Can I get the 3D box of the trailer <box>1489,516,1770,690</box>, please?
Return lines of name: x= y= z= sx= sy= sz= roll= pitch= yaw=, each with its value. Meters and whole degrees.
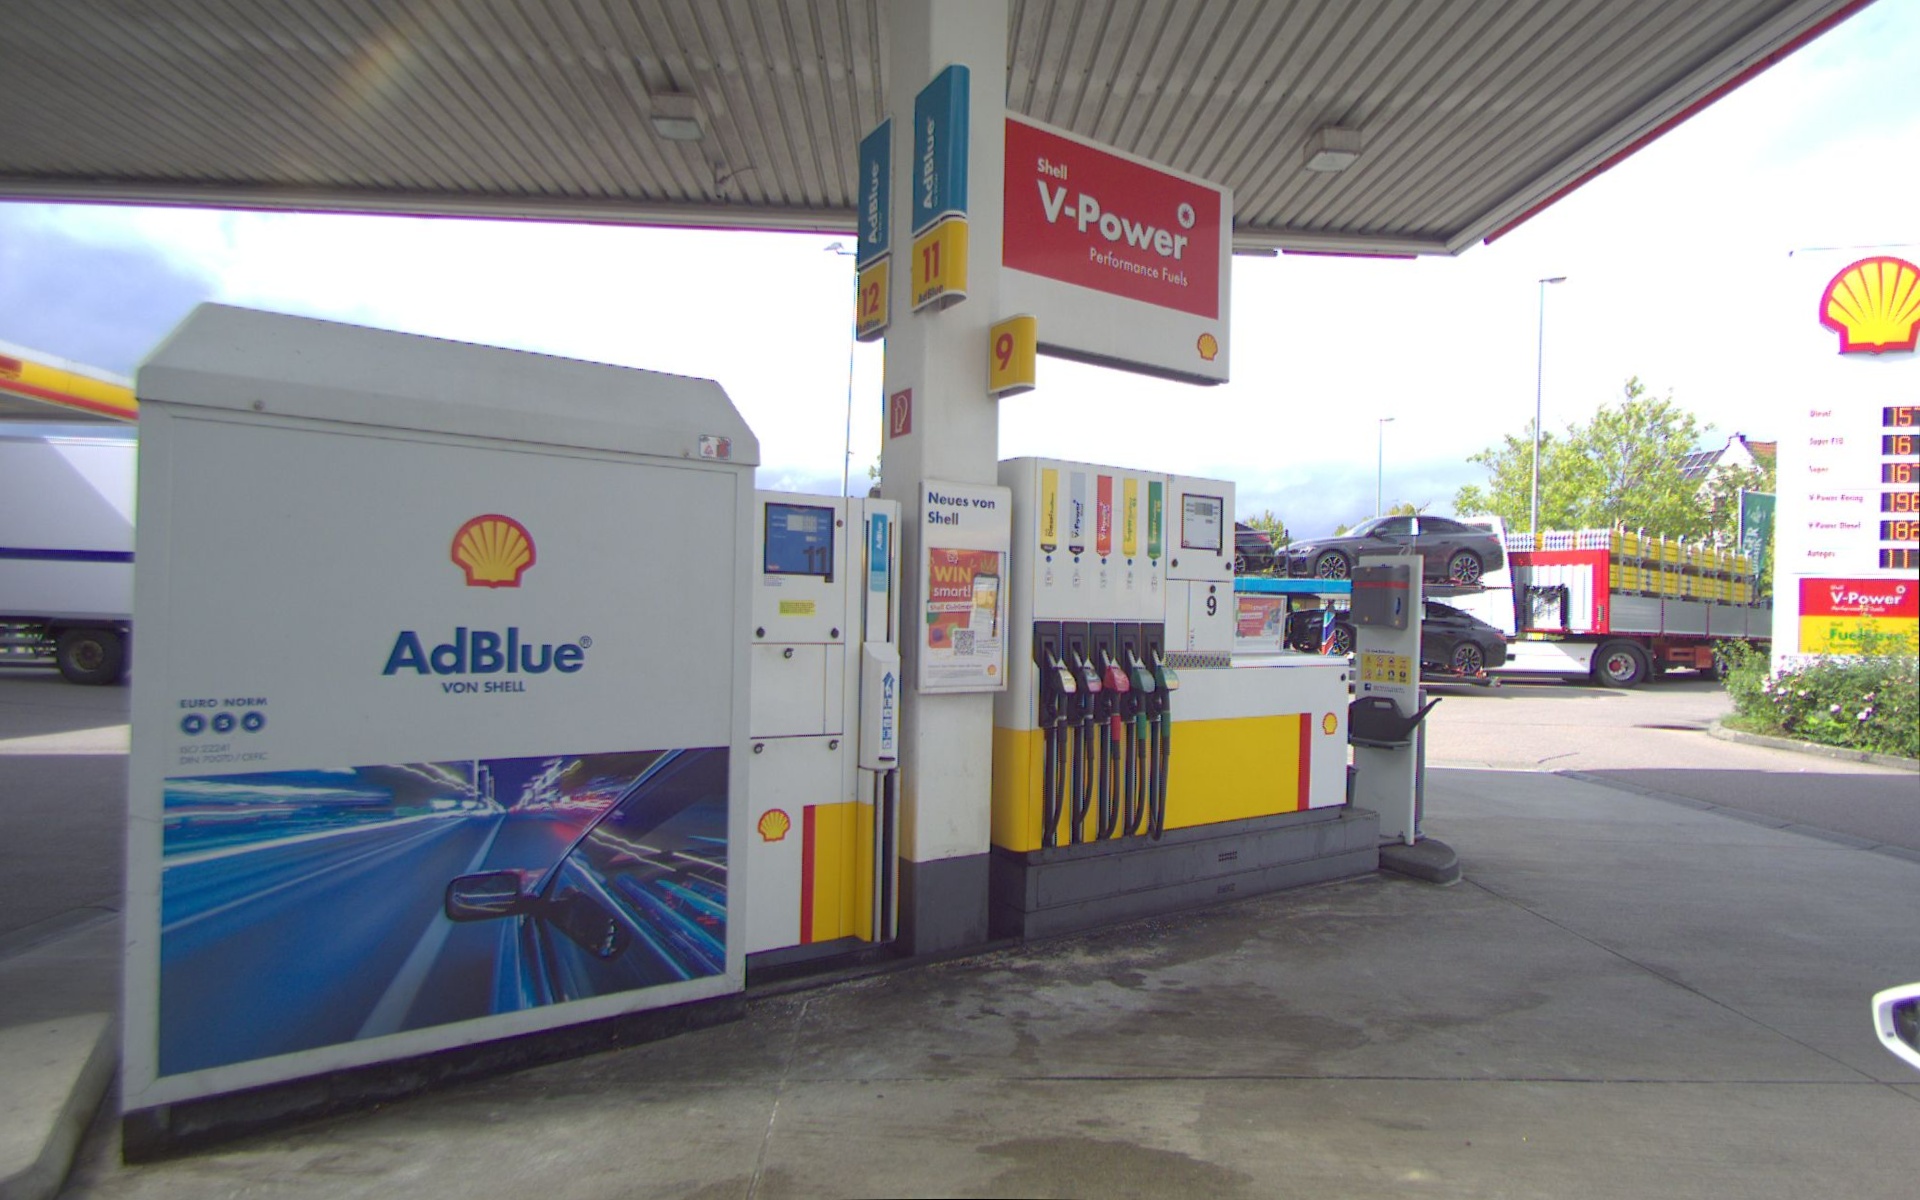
trailer: x=18.522 y=0.209 z=27.176 sx=12.605 sy=3.826 sz=2.708 roll=2 pitch=0 yaw=-39

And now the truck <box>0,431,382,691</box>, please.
truck: x=-17.294 y=-0.737 z=17.503 sx=12.654 sy=4.092 sz=2.534 roll=2 pitch=0 yaw=-3

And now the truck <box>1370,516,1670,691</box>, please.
truck: x=13.496 y=0.043 z=24.722 sx=5.798 sy=3.897 sz=2.743 roll=2 pitch=0 yaw=12

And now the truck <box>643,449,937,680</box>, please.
truck: x=-3.443 y=-0.703 z=21.547 sx=5.713 sy=4.479 sz=2.750 roll=2 pitch=0 yaw=0

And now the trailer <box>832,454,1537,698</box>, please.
trailer: x=4.533 y=-0.467 z=21.585 sx=14.077 sy=4.481 sz=2.746 roll=2 pitch=0 yaw=0
